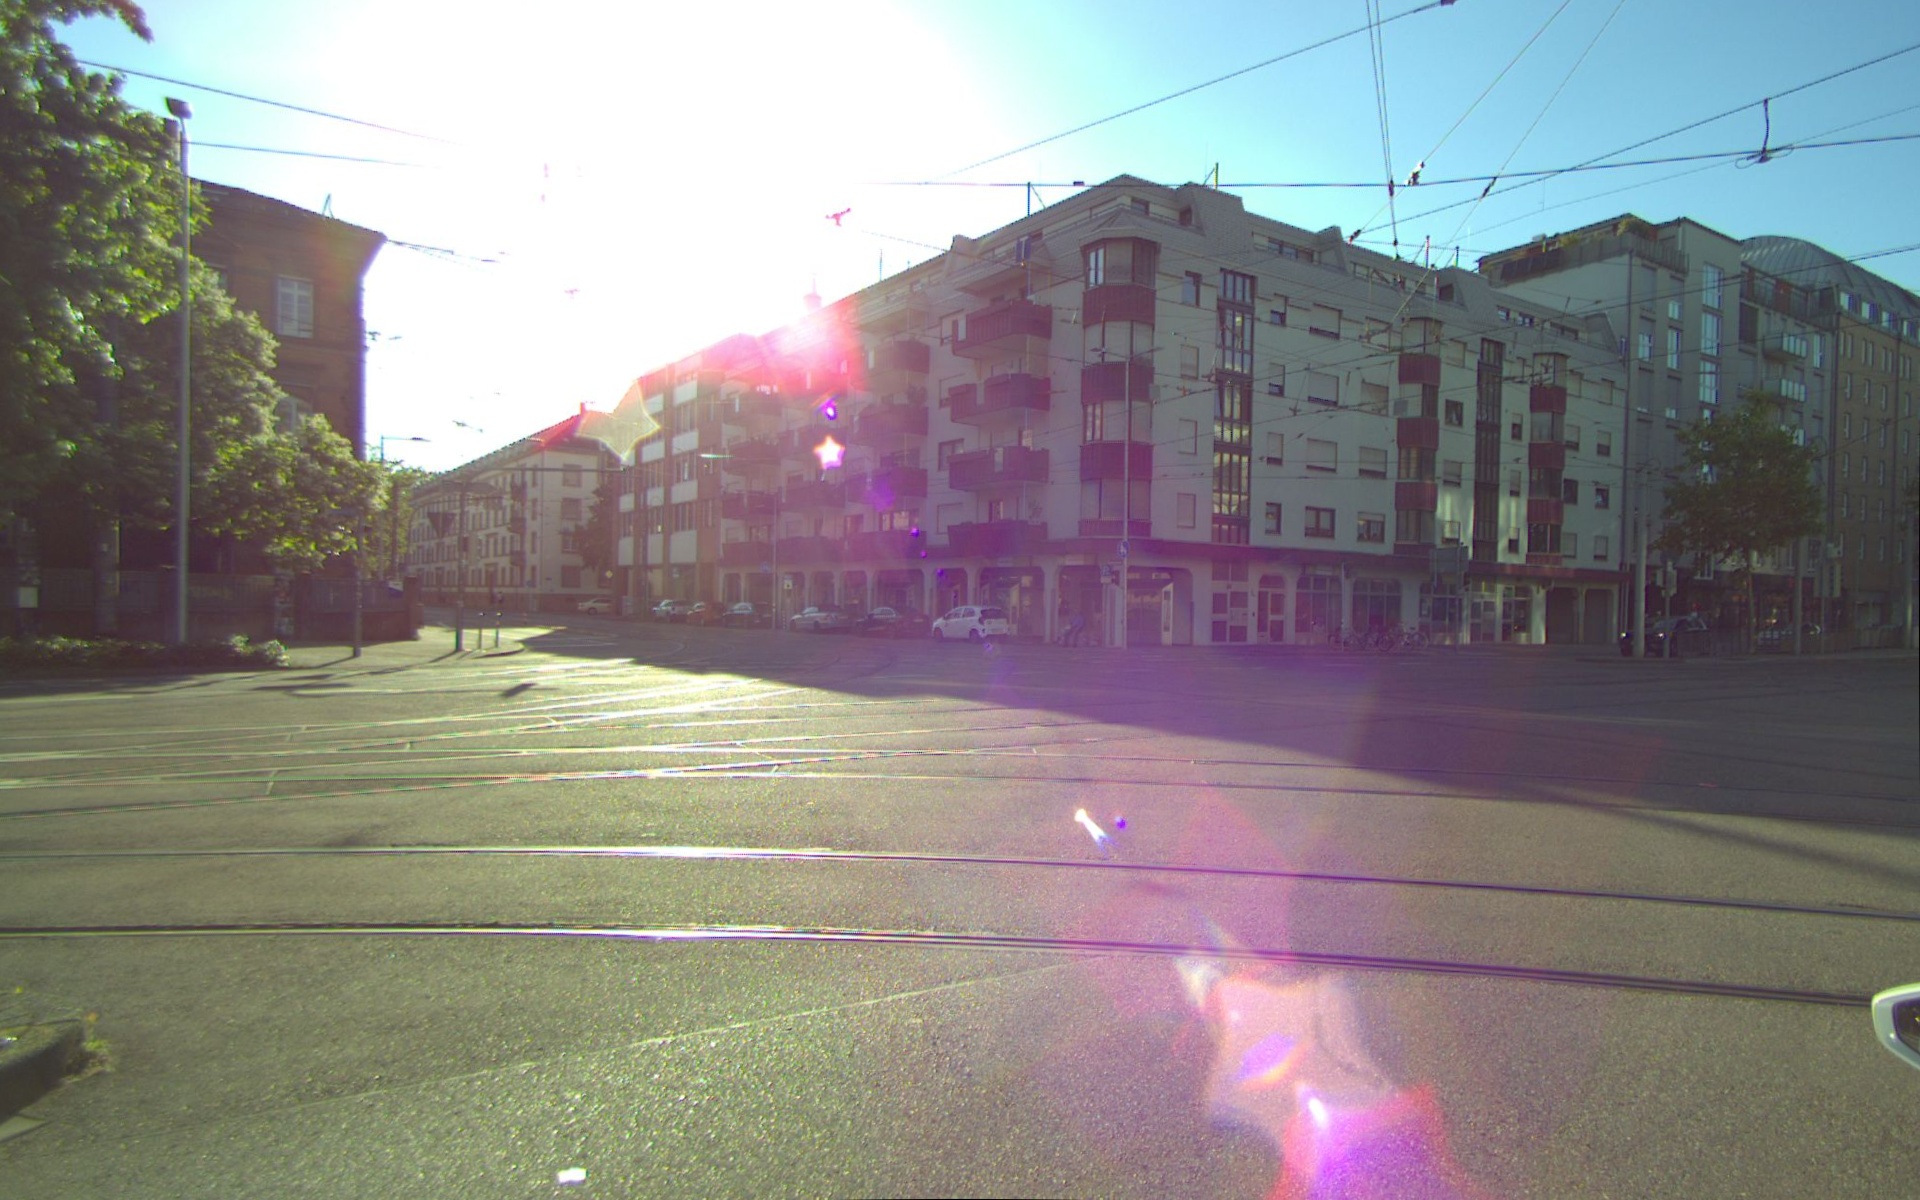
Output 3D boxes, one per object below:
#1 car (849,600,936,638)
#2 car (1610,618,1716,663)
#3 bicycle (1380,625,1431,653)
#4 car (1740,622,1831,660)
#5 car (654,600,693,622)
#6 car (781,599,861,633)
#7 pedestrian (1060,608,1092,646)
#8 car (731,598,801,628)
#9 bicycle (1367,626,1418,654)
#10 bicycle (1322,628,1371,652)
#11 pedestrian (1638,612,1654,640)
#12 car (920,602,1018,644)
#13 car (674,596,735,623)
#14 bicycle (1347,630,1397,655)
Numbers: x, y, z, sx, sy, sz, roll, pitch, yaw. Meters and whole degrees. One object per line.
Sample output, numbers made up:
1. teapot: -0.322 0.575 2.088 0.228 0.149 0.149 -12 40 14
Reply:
1. car: -3.074 0.805 44.992 1.982 1.576 4.078 1 0 -38
2. car: 28.480 1.598 40.672 4.211 1.695 1.945 1 0 -31
3. bicycle: 17.323 1.495 39.116 0.547 0.998 1.833 1 0 -32
4. car: 38.240 1.868 46.501 4.211 1.616 1.945 1 0 -31
5. car: -18.714 0.695 65.511 1.447 1.351 3.149 1 0 -37
6. car: -6.961 0.759 49.924 1.982 1.576 4.535 1 0 -38
7. pedestrian: 4.341 1.008 37.514 0.830 1.403 0.849 1 0 -40
8. car: -10.705 0.686 55.297 1.982 1.576 4.535 1 0 -38
9. bicycle: 16.748 1.540 38.913 0.547 0.998 1.833 1 0 -32
10. bicycle: 14.772 1.516 38.403 0.546 0.865 1.836 1 0 -27
11. pedestrian: 37.557 1.436 54.973 0.581 1.514 0.531 1 0 -33
12. car: 0.330 0.888 40.847 1.982 1.576 3.957 1 0 -38
13. car: -15.734 0.552 61.713 1.982 1.576 4.535 1 0 -38
14. bicycle: 15.677 1.607 38.247 0.546 0.865 1.836 1 0 -27
